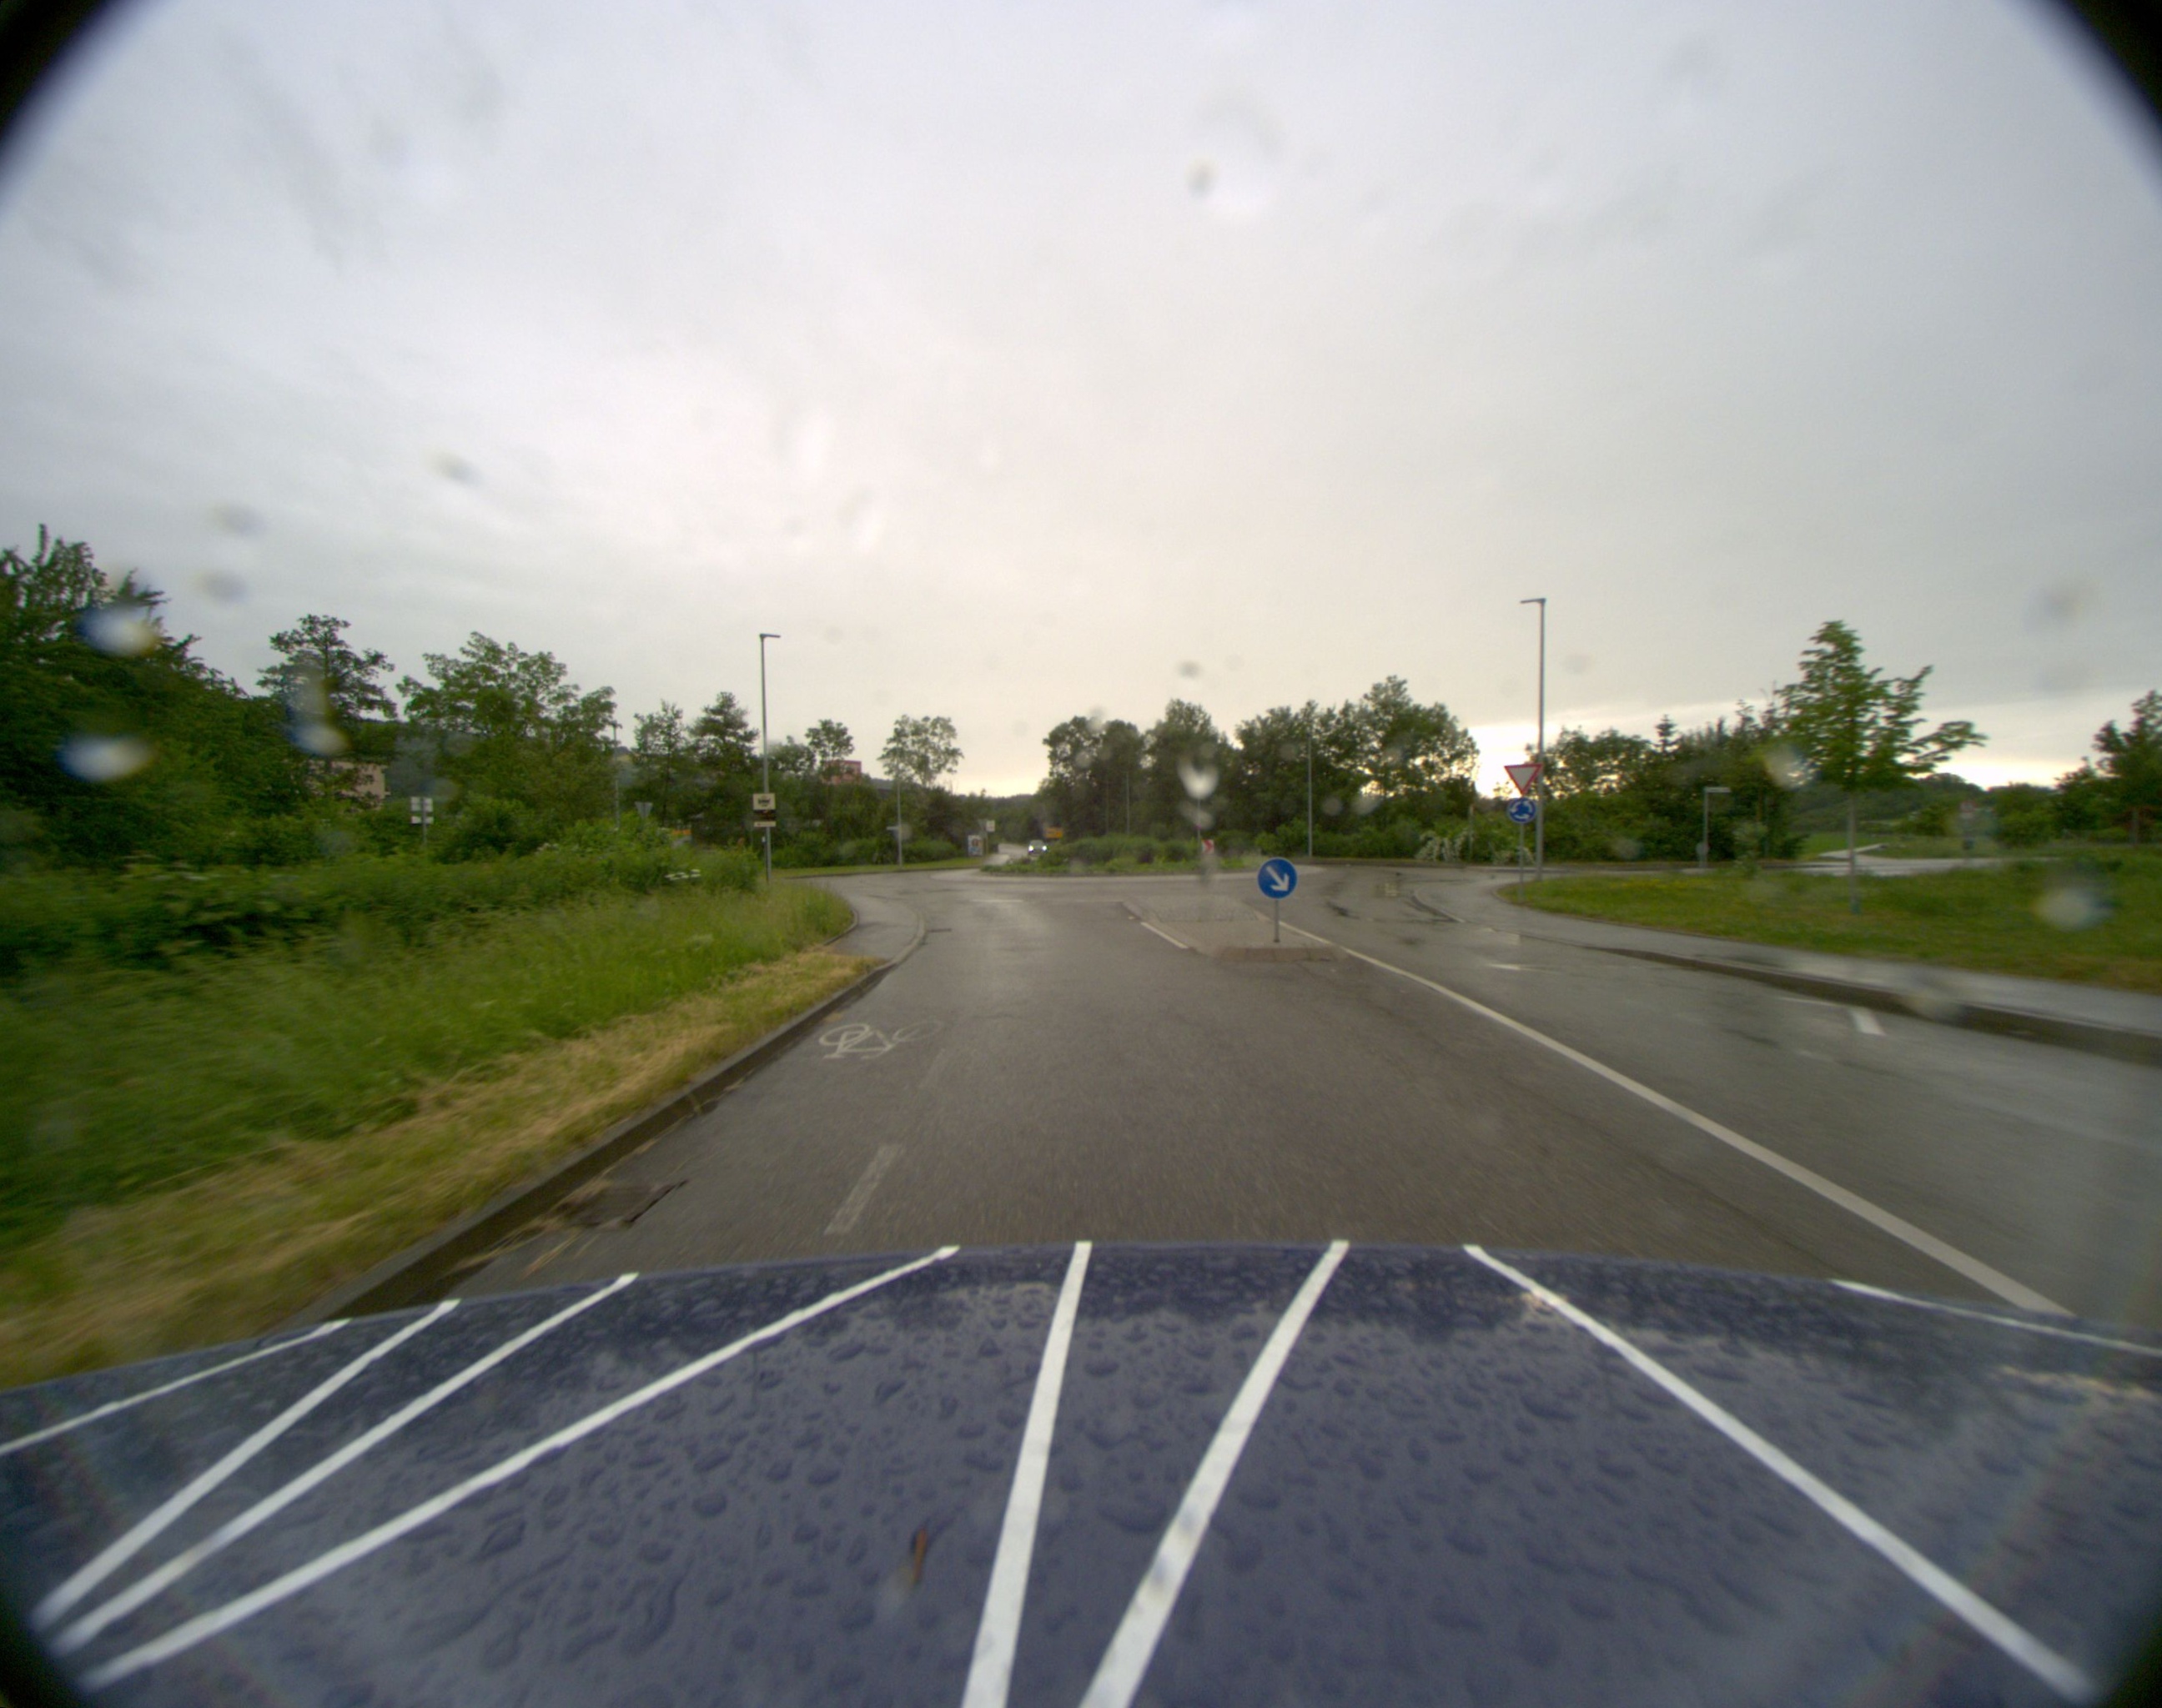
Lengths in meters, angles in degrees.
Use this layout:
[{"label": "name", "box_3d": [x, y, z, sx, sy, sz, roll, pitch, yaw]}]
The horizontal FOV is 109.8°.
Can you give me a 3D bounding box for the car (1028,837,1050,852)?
[{"label": "car", "box_3d": [-4.259, -0.957, 77.059, 1.857, 1.481, 4.117, -2, 1, -8]}]
